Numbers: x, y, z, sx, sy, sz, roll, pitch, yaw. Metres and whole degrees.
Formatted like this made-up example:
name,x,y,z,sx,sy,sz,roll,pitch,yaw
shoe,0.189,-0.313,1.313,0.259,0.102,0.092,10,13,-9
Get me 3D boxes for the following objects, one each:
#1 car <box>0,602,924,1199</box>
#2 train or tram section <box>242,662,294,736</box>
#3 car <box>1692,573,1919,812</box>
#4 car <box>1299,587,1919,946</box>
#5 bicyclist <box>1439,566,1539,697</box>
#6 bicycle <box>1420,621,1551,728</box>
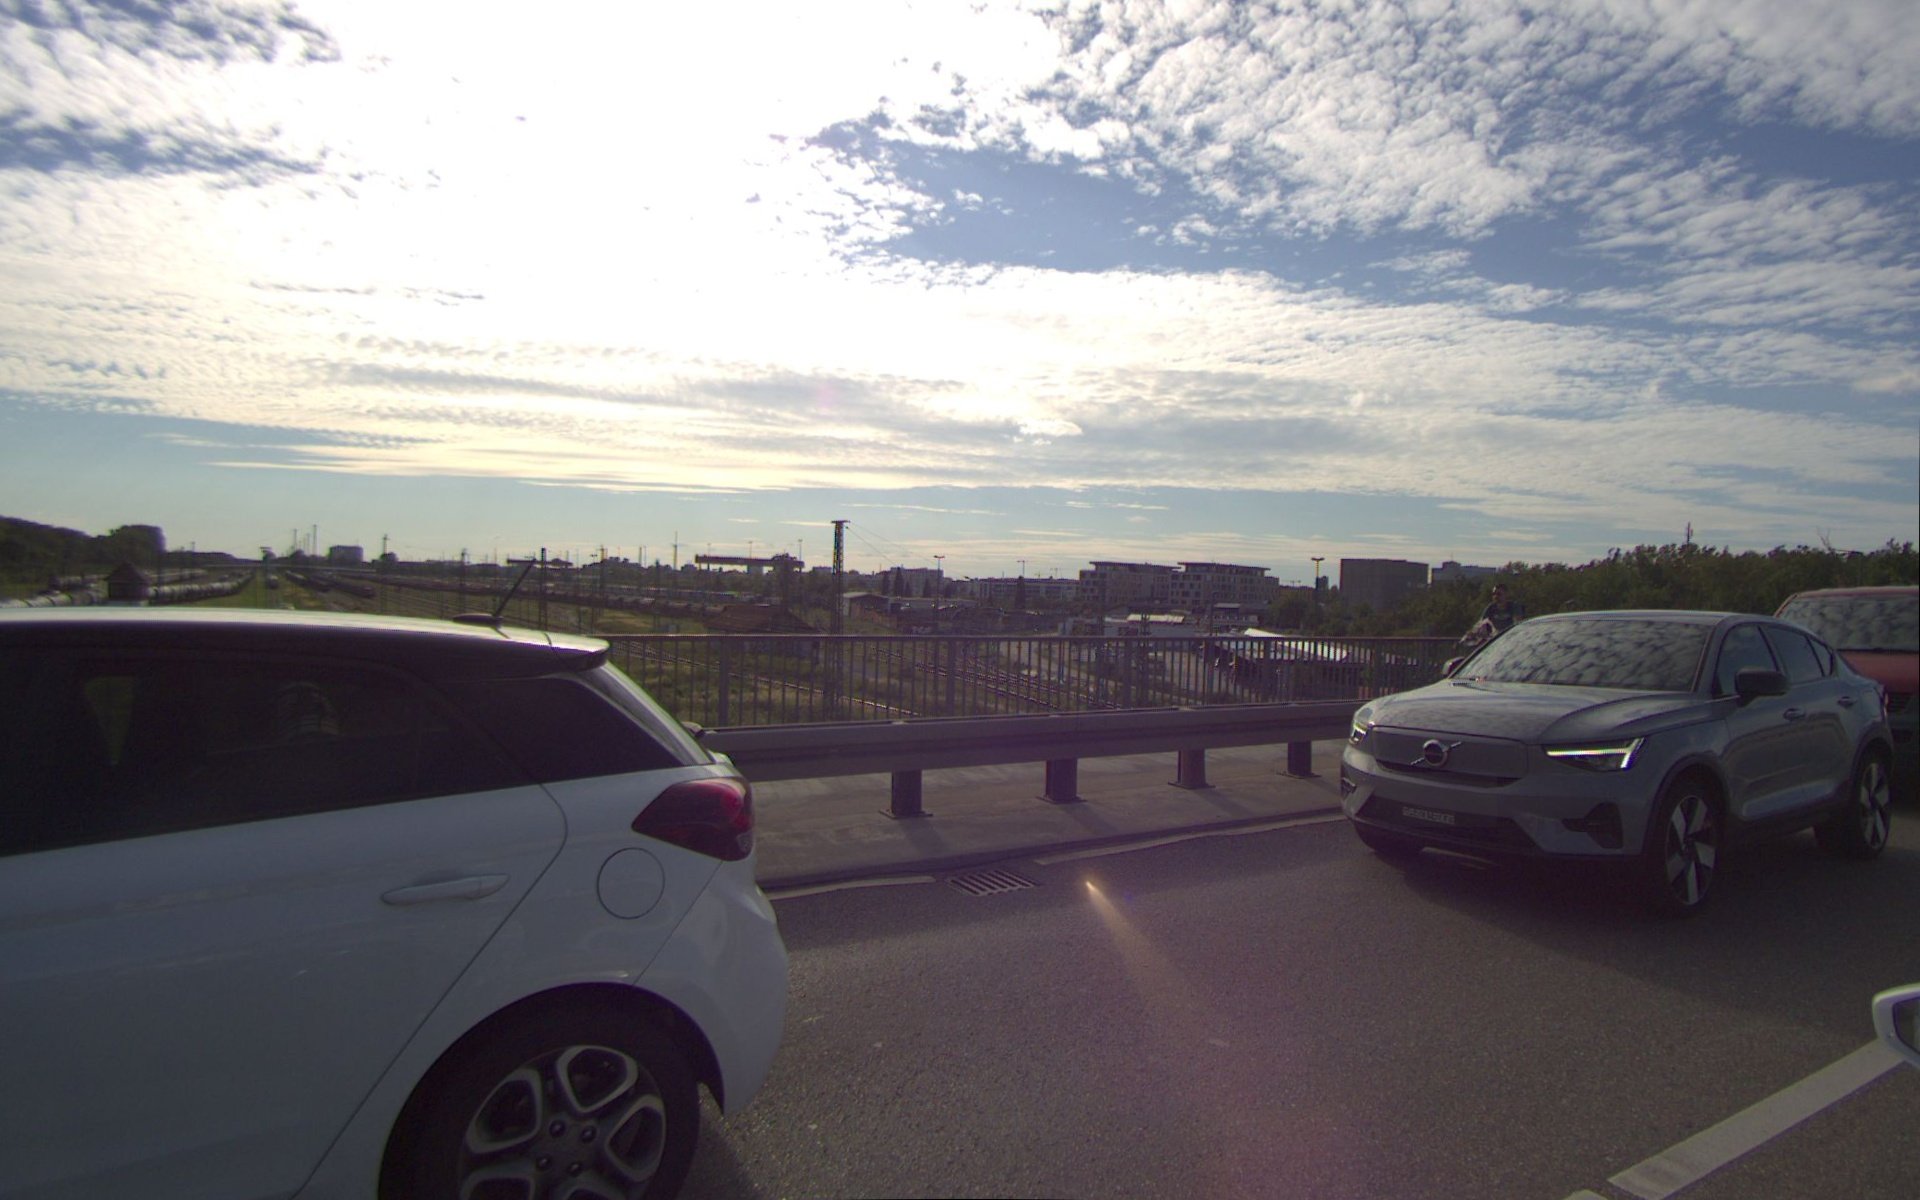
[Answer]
name,x,y,z,sx,sy,sz,roll,pitch,yaw
car,-2.267,0.773,2.344,4.027,1.520,1.734,1,-1,-28
train or tram section,-56.949,7.803,82.411,3.067,4.774,16.579,2,-1,-36
car,9.366,0.814,10.004,4.821,1.928,1.994,2,-2,-36
car,4.299,0.818,6.459,4.266,1.631,1.743,2,-2,-32
bicyclist,7.158,0.425,13.596,1.109,1.682,0.761,2,-1,-34
bicycle,7.109,0.975,13.554,1.896,1.349,0.759,2,-1,-34
